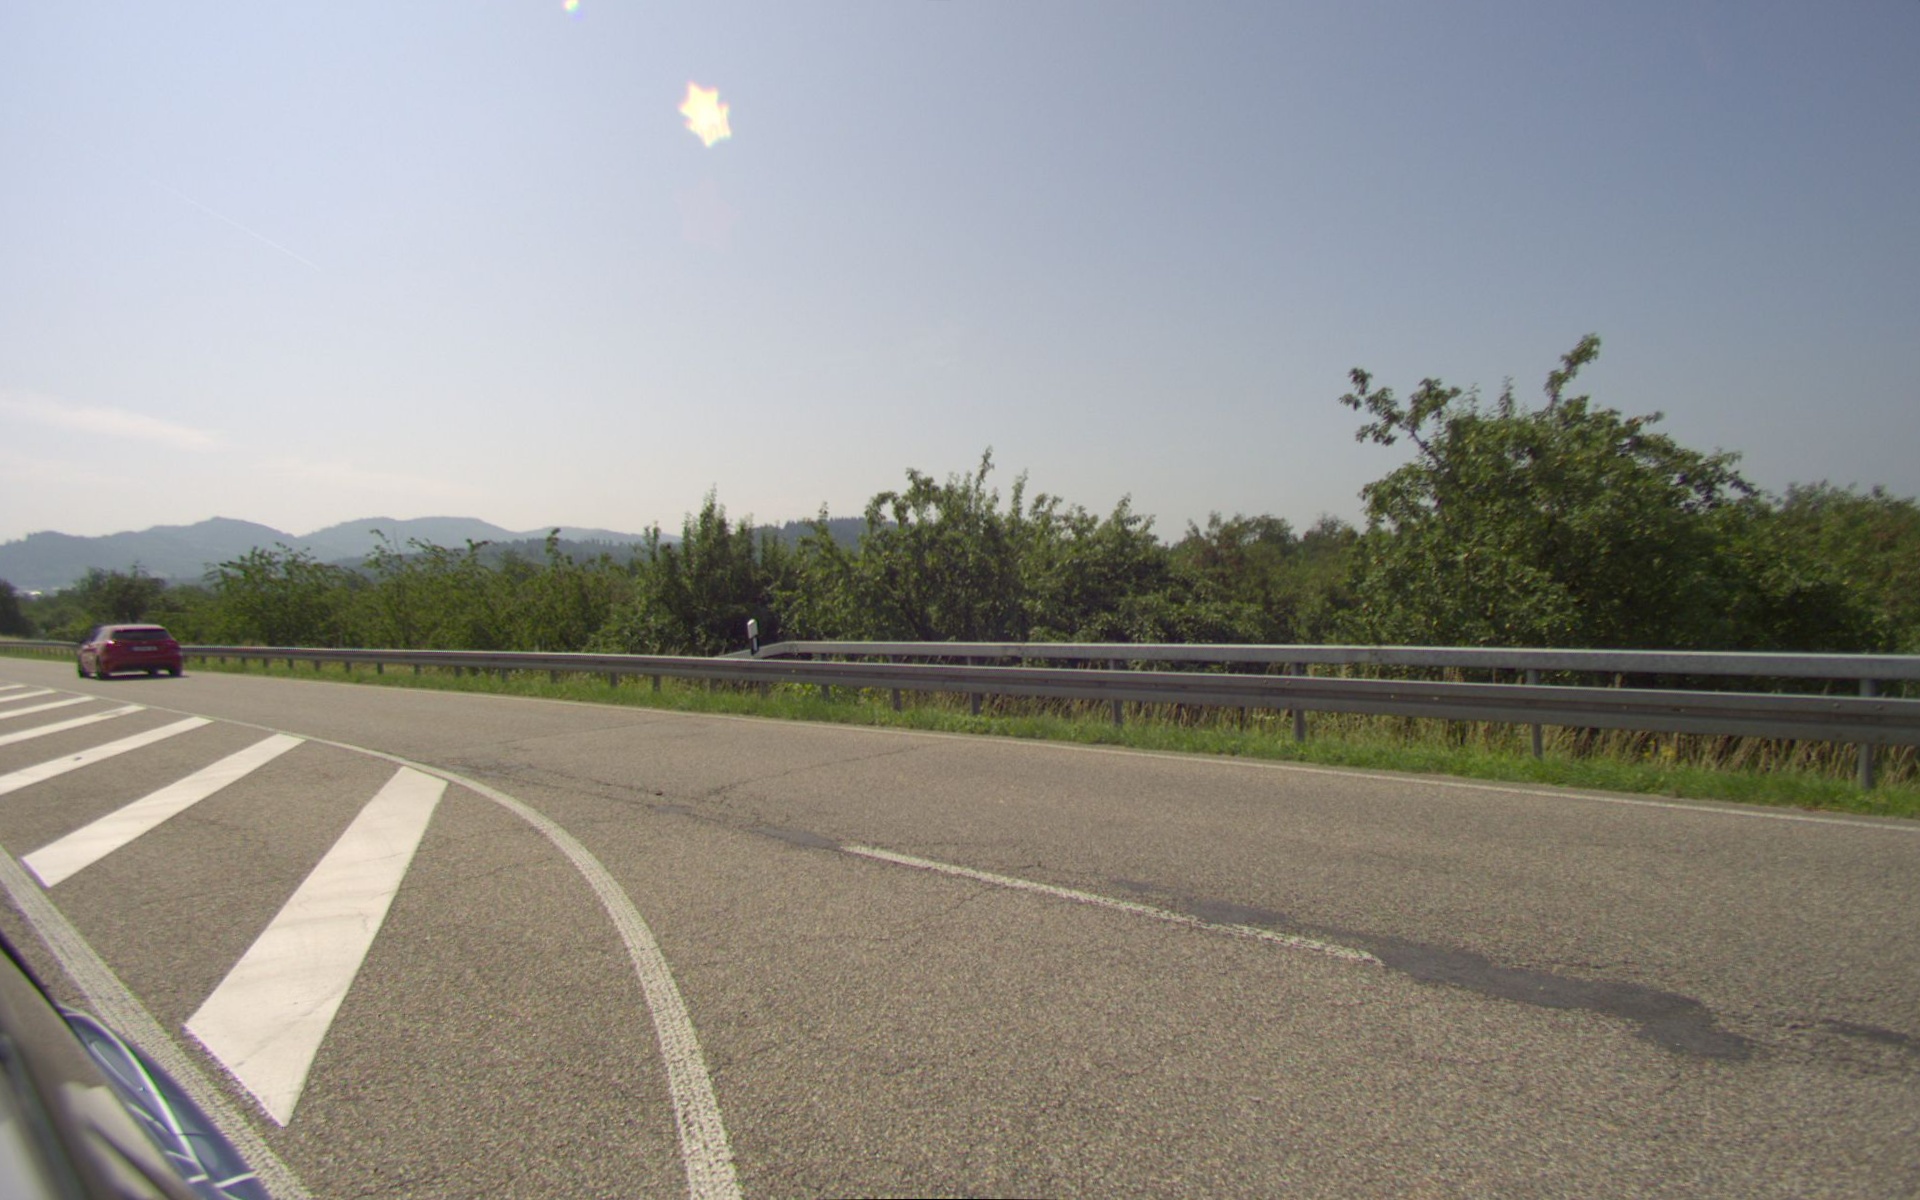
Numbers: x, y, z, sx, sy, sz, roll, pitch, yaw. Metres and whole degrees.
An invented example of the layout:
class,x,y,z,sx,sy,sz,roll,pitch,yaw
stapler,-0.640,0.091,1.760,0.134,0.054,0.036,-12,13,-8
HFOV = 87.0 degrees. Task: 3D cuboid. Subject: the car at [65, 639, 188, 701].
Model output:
class,x,y,z,sx,sy,sz,roll,pitch,yaw
car,-22.953,1.858,27.817,4.491,1.460,1.797,-2,0,40
